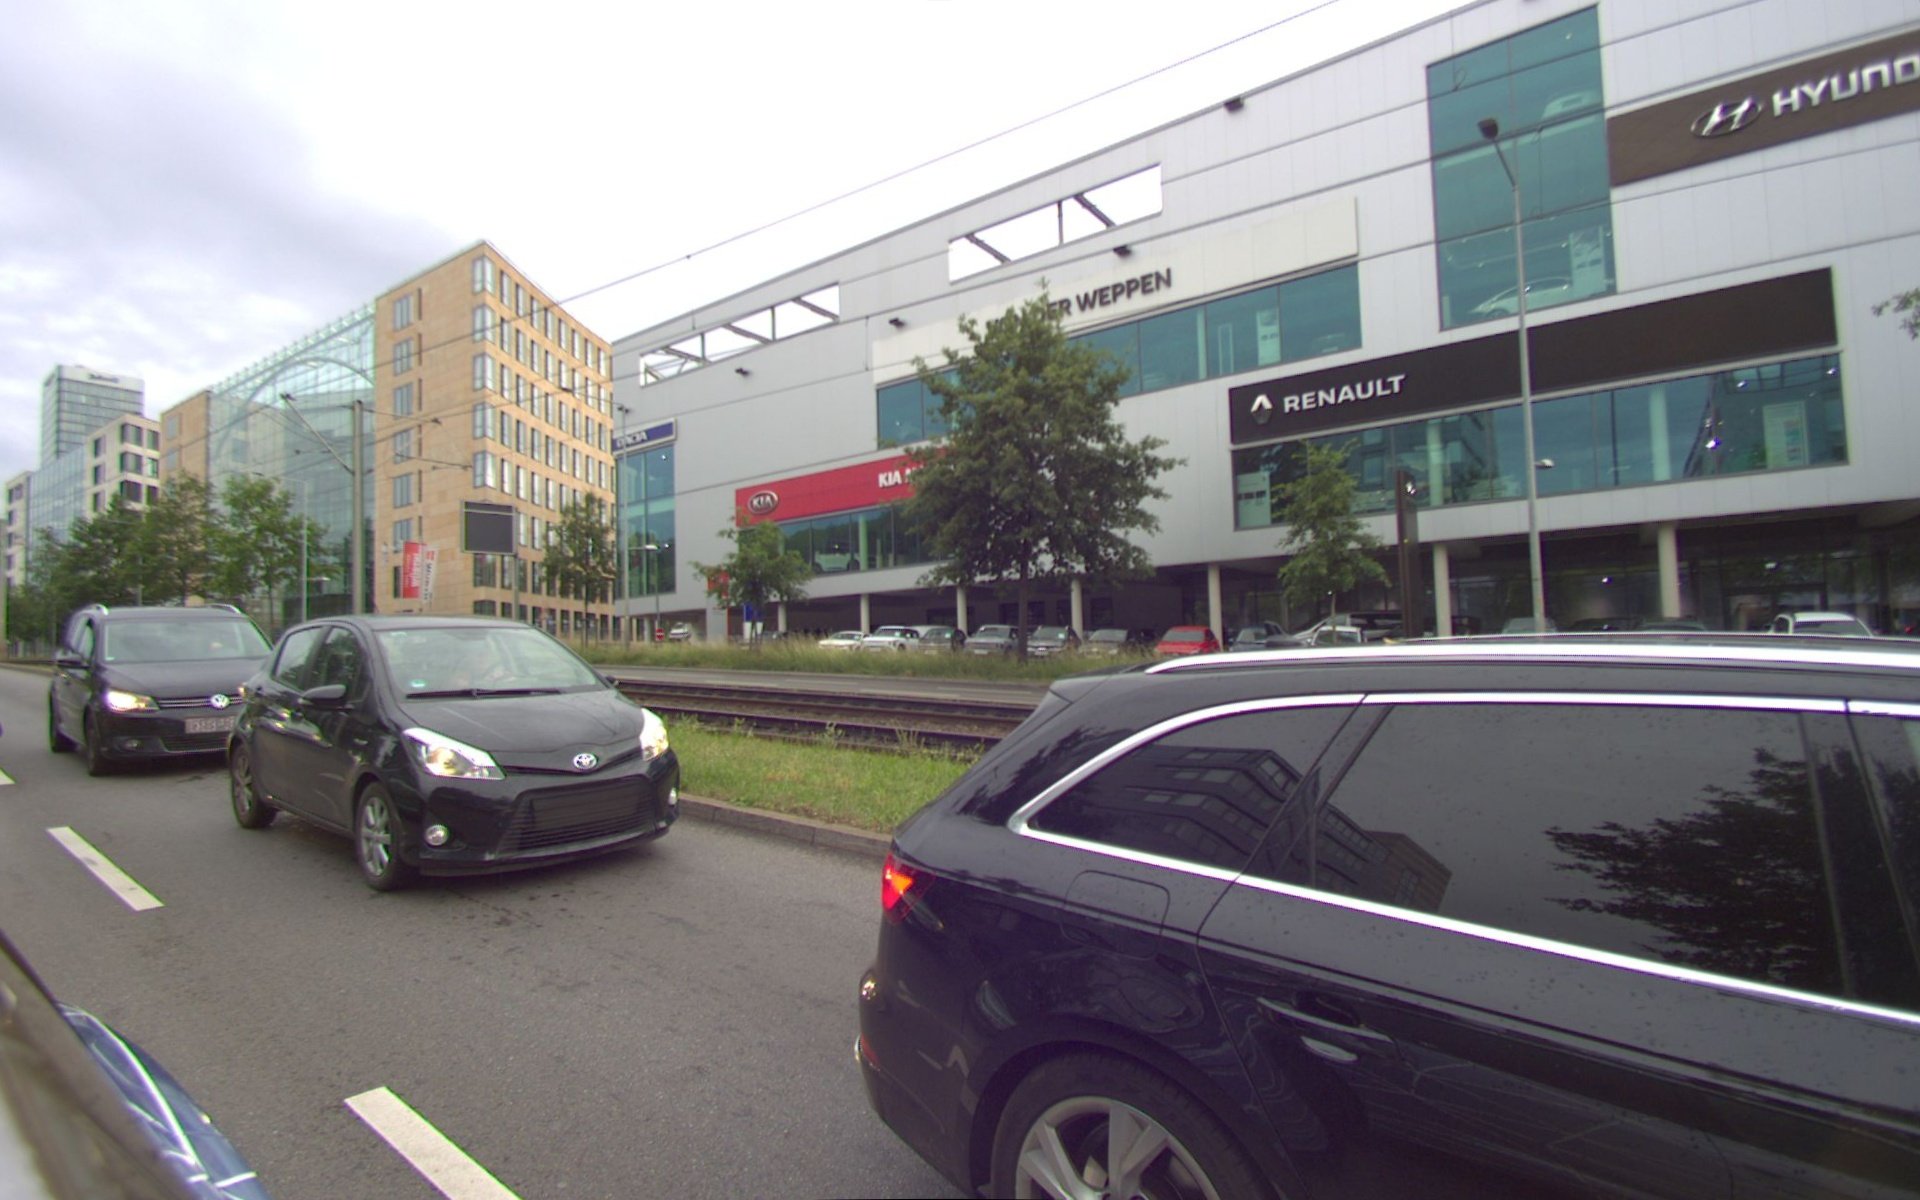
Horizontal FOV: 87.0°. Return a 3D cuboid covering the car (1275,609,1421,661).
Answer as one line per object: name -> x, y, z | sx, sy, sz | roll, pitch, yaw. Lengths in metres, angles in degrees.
car -> 13.923, 1.252, 36.536 | 4.488, 1.796, 1.997 | -1, -1, 5

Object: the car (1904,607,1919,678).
car -> 22.784, 1.018, 22.261 | 1.992, 1.627, 4.331 | -1, 1, 30

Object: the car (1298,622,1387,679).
car -> 11.915, 1.516, 31.385 | 1.914, 1.470, 4.005 | -1, 1, 30

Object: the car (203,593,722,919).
car -> -3.430, 0.779, 6.681 | 3.823, 1.544, 1.683 | -1, -1, 40

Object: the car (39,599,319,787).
car -> -8.518, 0.847, 10.890 | 4.318, 1.619, 1.762 | -2, -1, 44

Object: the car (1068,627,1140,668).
car -> 5.212, 1.681, 36.364 | 1.689, 1.190, 3.498 | -1, 1, 24

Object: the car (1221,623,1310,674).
car -> 10.041, 1.539, 33.081 | 1.914, 1.362, 4.005 | -1, 1, 30

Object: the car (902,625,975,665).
car -> -0.821, 1.805, 41.073 | 1.688, 1.362, 3.499 | -1, 1, 23

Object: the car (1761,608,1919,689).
car -> 20.559, 1.056, 23.846 | 1.992, 1.562, 4.331 | -1, 1, 30

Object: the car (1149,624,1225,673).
car -> 7.779, 1.613, 34.485 | 1.789, 1.362, 3.903 | -1, 1, 24

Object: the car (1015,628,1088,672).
car -> 3.464, 1.832, 37.824 | 1.689, 1.362, 3.498 | -1, 1, 24

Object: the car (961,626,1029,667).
car -> 1.428, 1.784, 39.722 | 1.686, 1.362, 3.503 | -2, 1, 20

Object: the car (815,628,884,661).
car -> -4.818, 1.928, 44.681 | 1.685, 1.196, 3.643 | -2, 1, 18

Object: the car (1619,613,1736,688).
car -> 18.021, 1.201, 25.623 | 1.992, 1.562, 4.331 | -1, 1, 30

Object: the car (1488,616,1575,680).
car -> 15.822, 1.275, 28.009 | 1.925, 1.470, 3.981 | -1, 1, 30

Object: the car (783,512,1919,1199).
car -> 1.864, 0.642, 1.520 | 4.511, 1.478, 1.762 | -2, -1, 41

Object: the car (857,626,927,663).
car -> -2.828, 1.859, 43.004 | 1.685, 1.304, 3.643 | -2, 1, 18
